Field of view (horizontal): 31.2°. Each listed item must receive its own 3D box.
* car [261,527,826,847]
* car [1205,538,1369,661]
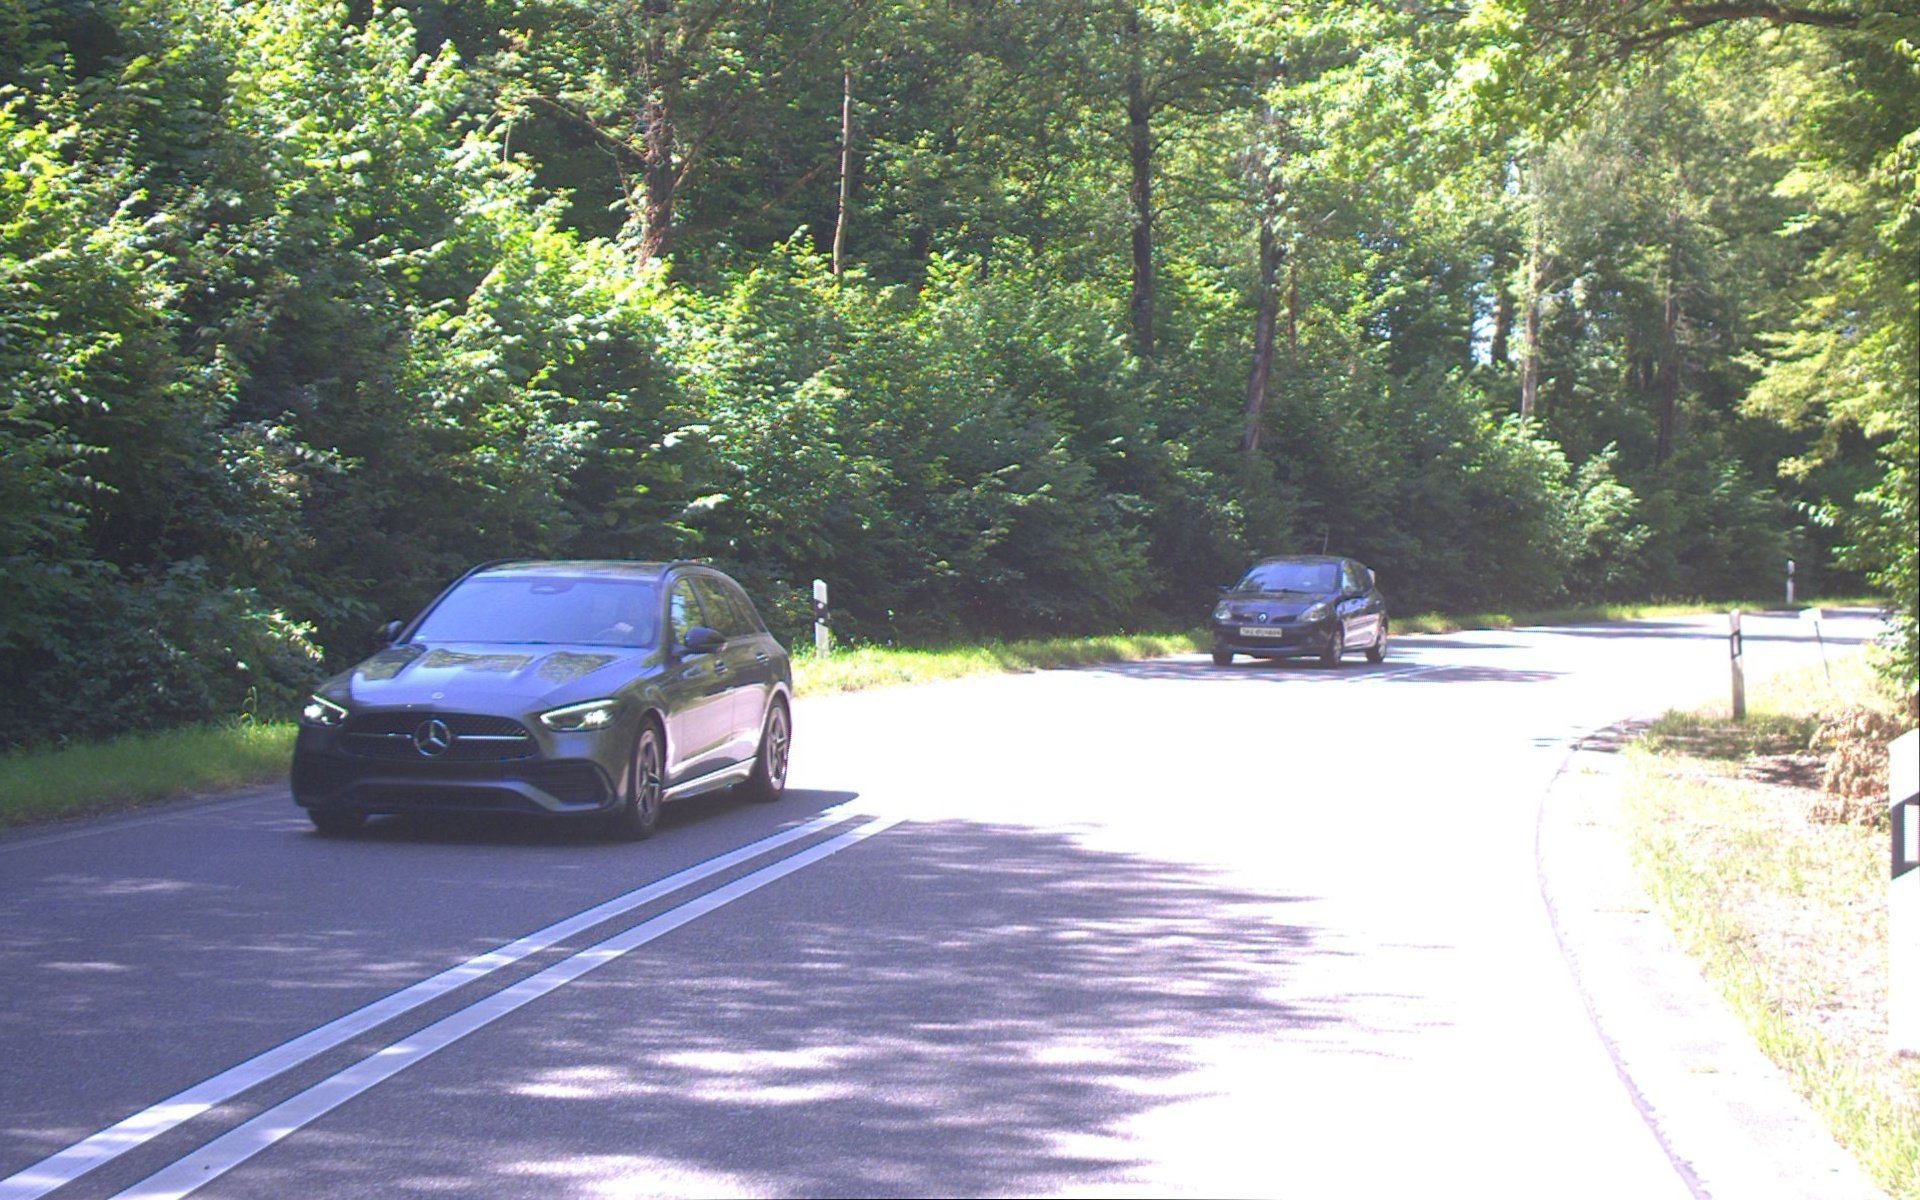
[{"bbox_3d":[-2.177,0.413,19.271,1.757,1.568,4.365,1,0,13],"label":"car"},{"bbox_3d":[4.423,-0.016,46.104,1.678,1.568,3.892,-1,0,13],"label":"car"}]
